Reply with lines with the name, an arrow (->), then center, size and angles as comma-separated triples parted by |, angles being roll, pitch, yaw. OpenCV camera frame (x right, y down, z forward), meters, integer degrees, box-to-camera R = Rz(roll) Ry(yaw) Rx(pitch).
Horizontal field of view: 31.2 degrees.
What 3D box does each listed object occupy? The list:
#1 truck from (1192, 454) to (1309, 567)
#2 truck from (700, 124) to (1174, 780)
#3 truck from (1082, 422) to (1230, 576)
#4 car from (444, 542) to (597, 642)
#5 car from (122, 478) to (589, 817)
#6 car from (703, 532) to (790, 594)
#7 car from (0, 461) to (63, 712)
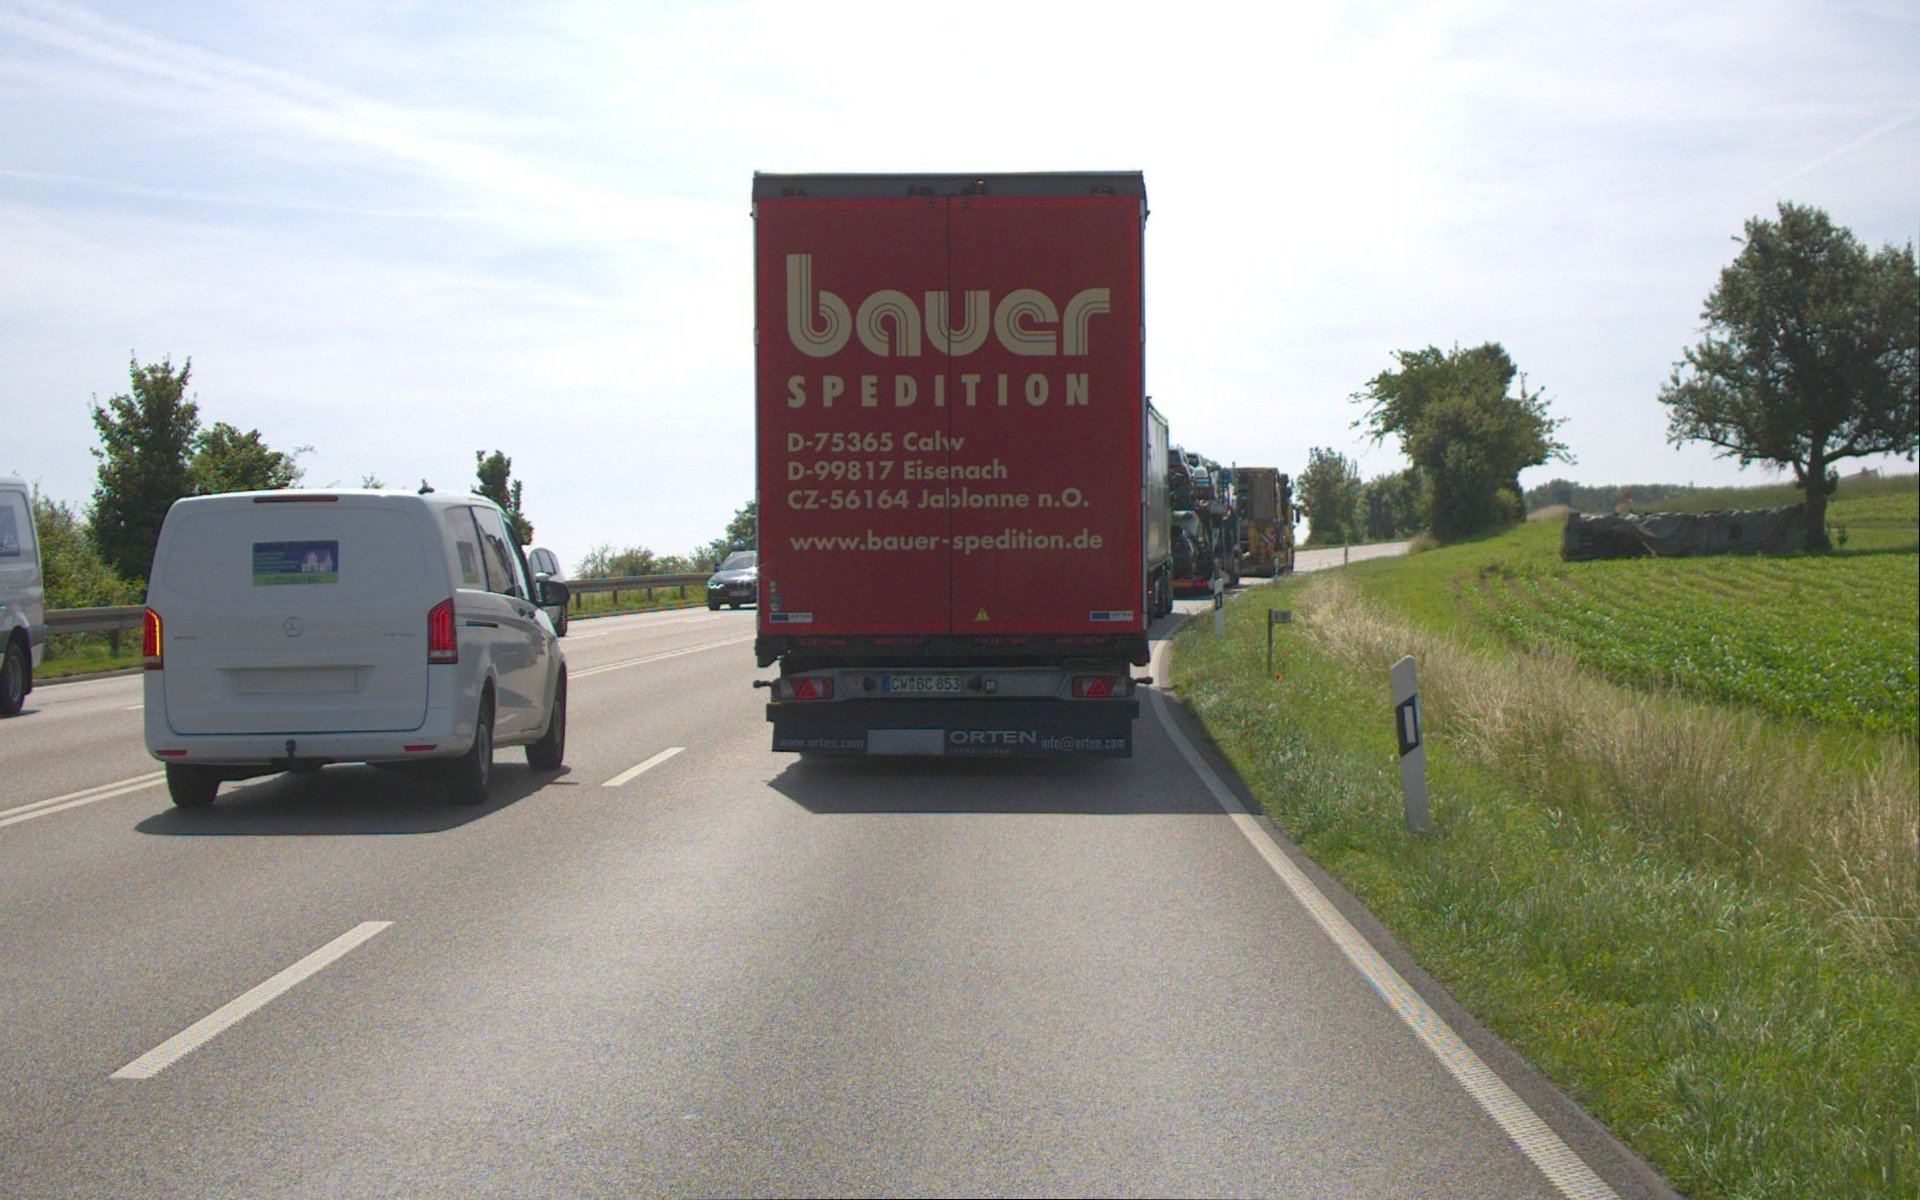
truck -> 11.107, -3.335, 129.562 | 3.048, 3.897, 18.392 | -1, 1, 9
truck -> -0.207, -1.097, 30.179 | 3.007, 4.165, 16.715 | 0, 1, 0
truck -> 5.642, -2.762, 95.953 | 3.048, 3.897, 15.612 | -1, 1, 7
car -> -7.323, -0.163, 57.644 | 1.813, 1.563, 4.684 | -1, 1, 2
car -> -3.678, 0.222, 21.960 | 1.905, 1.878, 5.432 | -1, 1, 1
car -> -5.275, -0.936, 85.463 | 1.718, 1.456, 4.215 | 1, 2, 3
car -> -10.204, -0.110, 31.873 | 2.088, 2.386, 5.844 | -1, 1, 2
